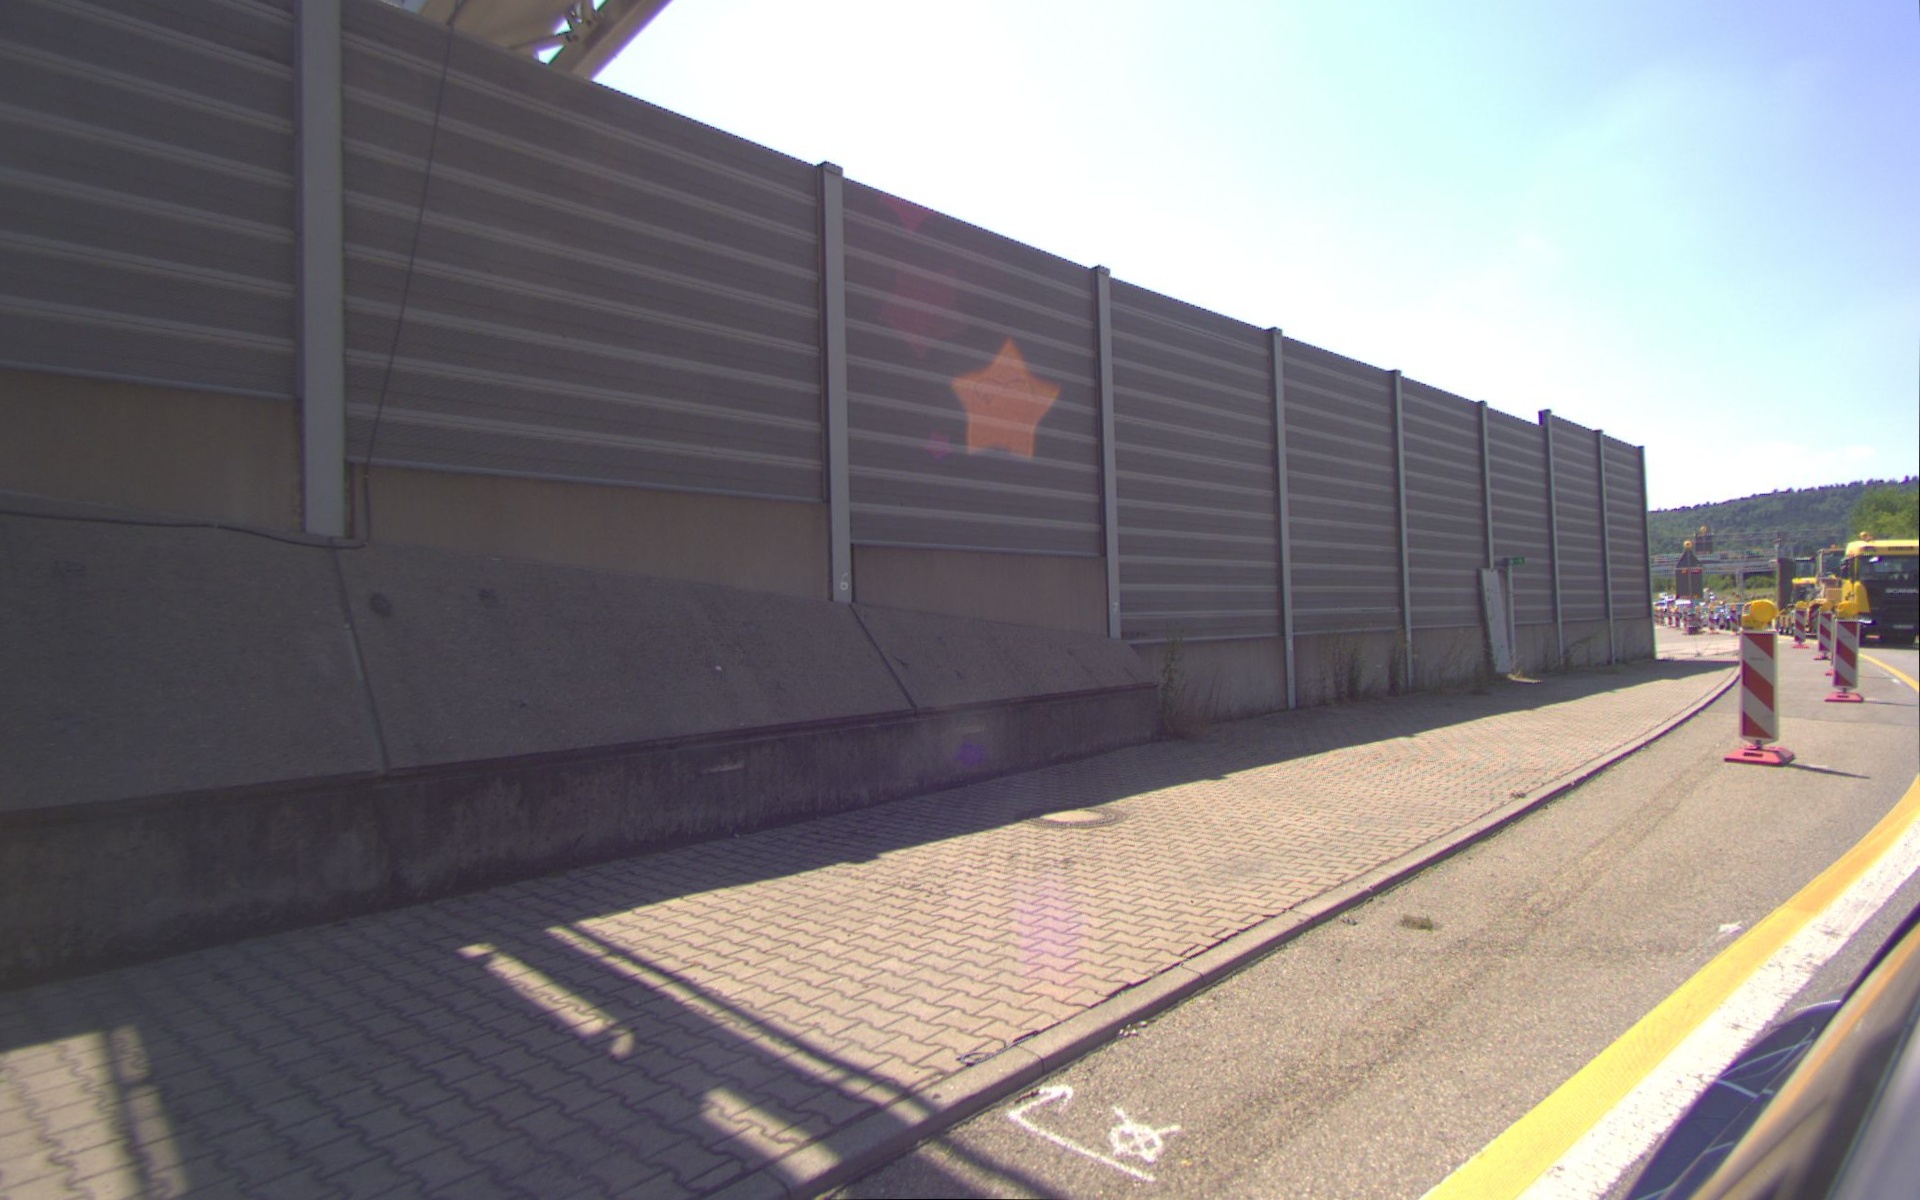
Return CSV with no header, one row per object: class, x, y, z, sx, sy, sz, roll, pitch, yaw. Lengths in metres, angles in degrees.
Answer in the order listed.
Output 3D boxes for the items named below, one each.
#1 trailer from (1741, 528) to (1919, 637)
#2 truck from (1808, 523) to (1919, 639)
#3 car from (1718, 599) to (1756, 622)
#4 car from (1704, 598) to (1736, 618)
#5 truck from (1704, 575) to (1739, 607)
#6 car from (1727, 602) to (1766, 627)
trailer,37.255,-0.488,43.364,3.209,3.715,17.239,-4,-3,29
truck,33.075,-0.615,35.791,3.203,3.709,7.008,-4,-3,29
car,51.840,0.699,67.568,1.464,1.466,4.313,0,0,30
car,56.155,0.564,74.824,1.464,1.466,4.311,0,0,31
truck,100.518,-1.047,133.625,3.219,3.715,17.188,-5,-3,37
car,48.734,0.897,62.731,1.465,1.466,4.310,0,0,32
